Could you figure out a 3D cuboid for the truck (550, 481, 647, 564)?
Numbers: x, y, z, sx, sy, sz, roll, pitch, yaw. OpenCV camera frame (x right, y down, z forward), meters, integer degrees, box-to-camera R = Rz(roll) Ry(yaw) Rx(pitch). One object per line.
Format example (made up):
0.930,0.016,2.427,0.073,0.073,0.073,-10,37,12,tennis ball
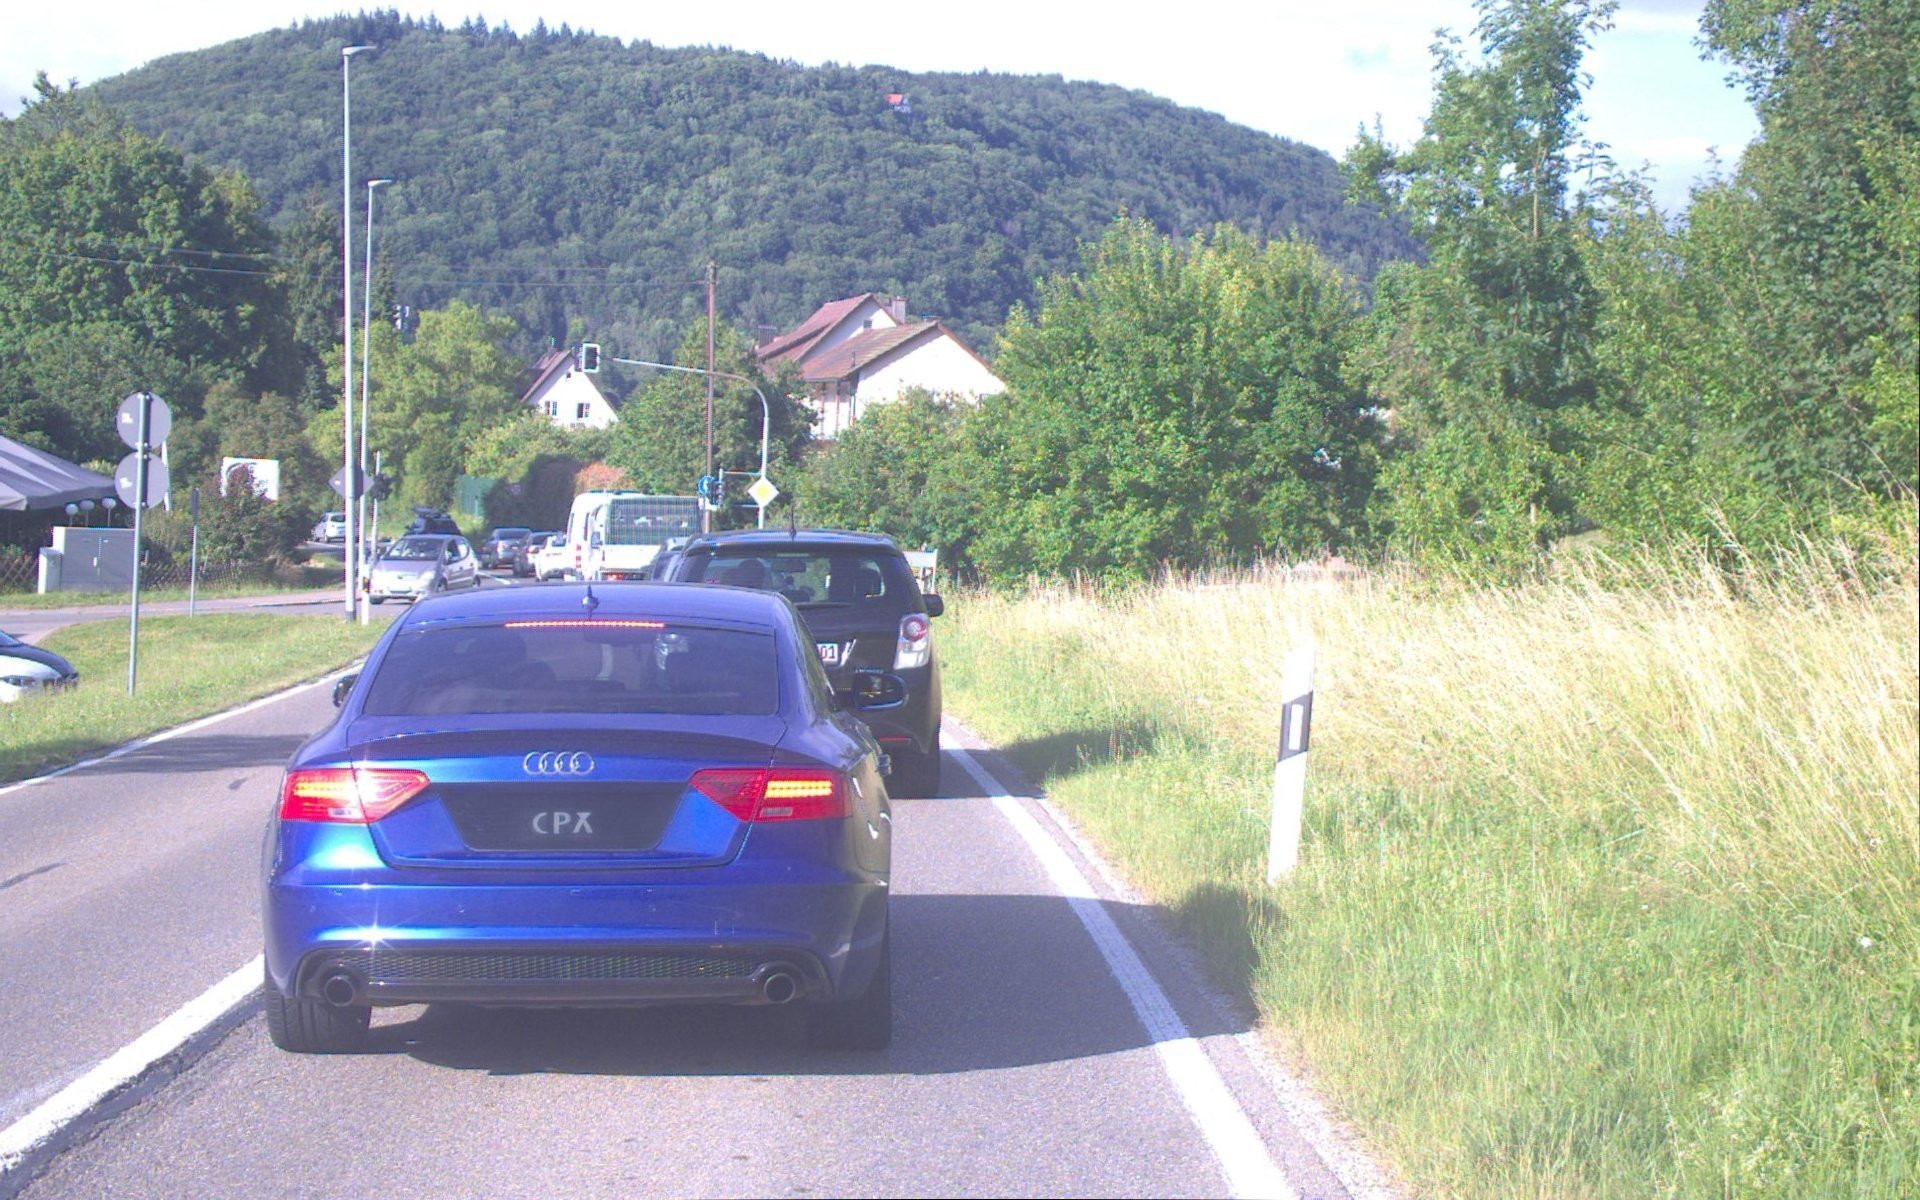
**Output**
-9.019,-1.886,85.363,1.697,1.947,5.924,1,0,-13,truck

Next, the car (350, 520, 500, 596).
-12.109,-0.935,78.020,1.737,1.656,3.467,1,0,24,car

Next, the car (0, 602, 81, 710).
-15.294,0.754,49.356,4.815,1.488,1.880,1,0,9,car

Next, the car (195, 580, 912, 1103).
-1.105,0.628,11.109,1.795,1.383,4.000,0,0,1,car

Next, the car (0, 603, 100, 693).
-15.236,0.694,51.932,3.987,1.306,1.760,1,0,4,car

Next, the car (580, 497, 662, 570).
-7.940,-1.520,80.223,1.746,1.634,4.001,1,0,-8,car

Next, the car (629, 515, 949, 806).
-0.985,0.333,21.657,1.746,1.634,4.000,1,0,1,car

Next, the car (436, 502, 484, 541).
-20.816,-3.252,143.000,1.625,1.571,3.680,1,0,-13,car

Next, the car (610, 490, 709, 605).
-6.010,-1.025,68.394,1.746,2.188,4.001,1,0,-8,car

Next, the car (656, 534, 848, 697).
-2.195,0.144,37.303,1.804,1.634,4.463,1,0,0,car

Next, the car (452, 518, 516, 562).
-16.818,-2.101,121.350,1.697,1.485,3.528,1,0,-16,car
